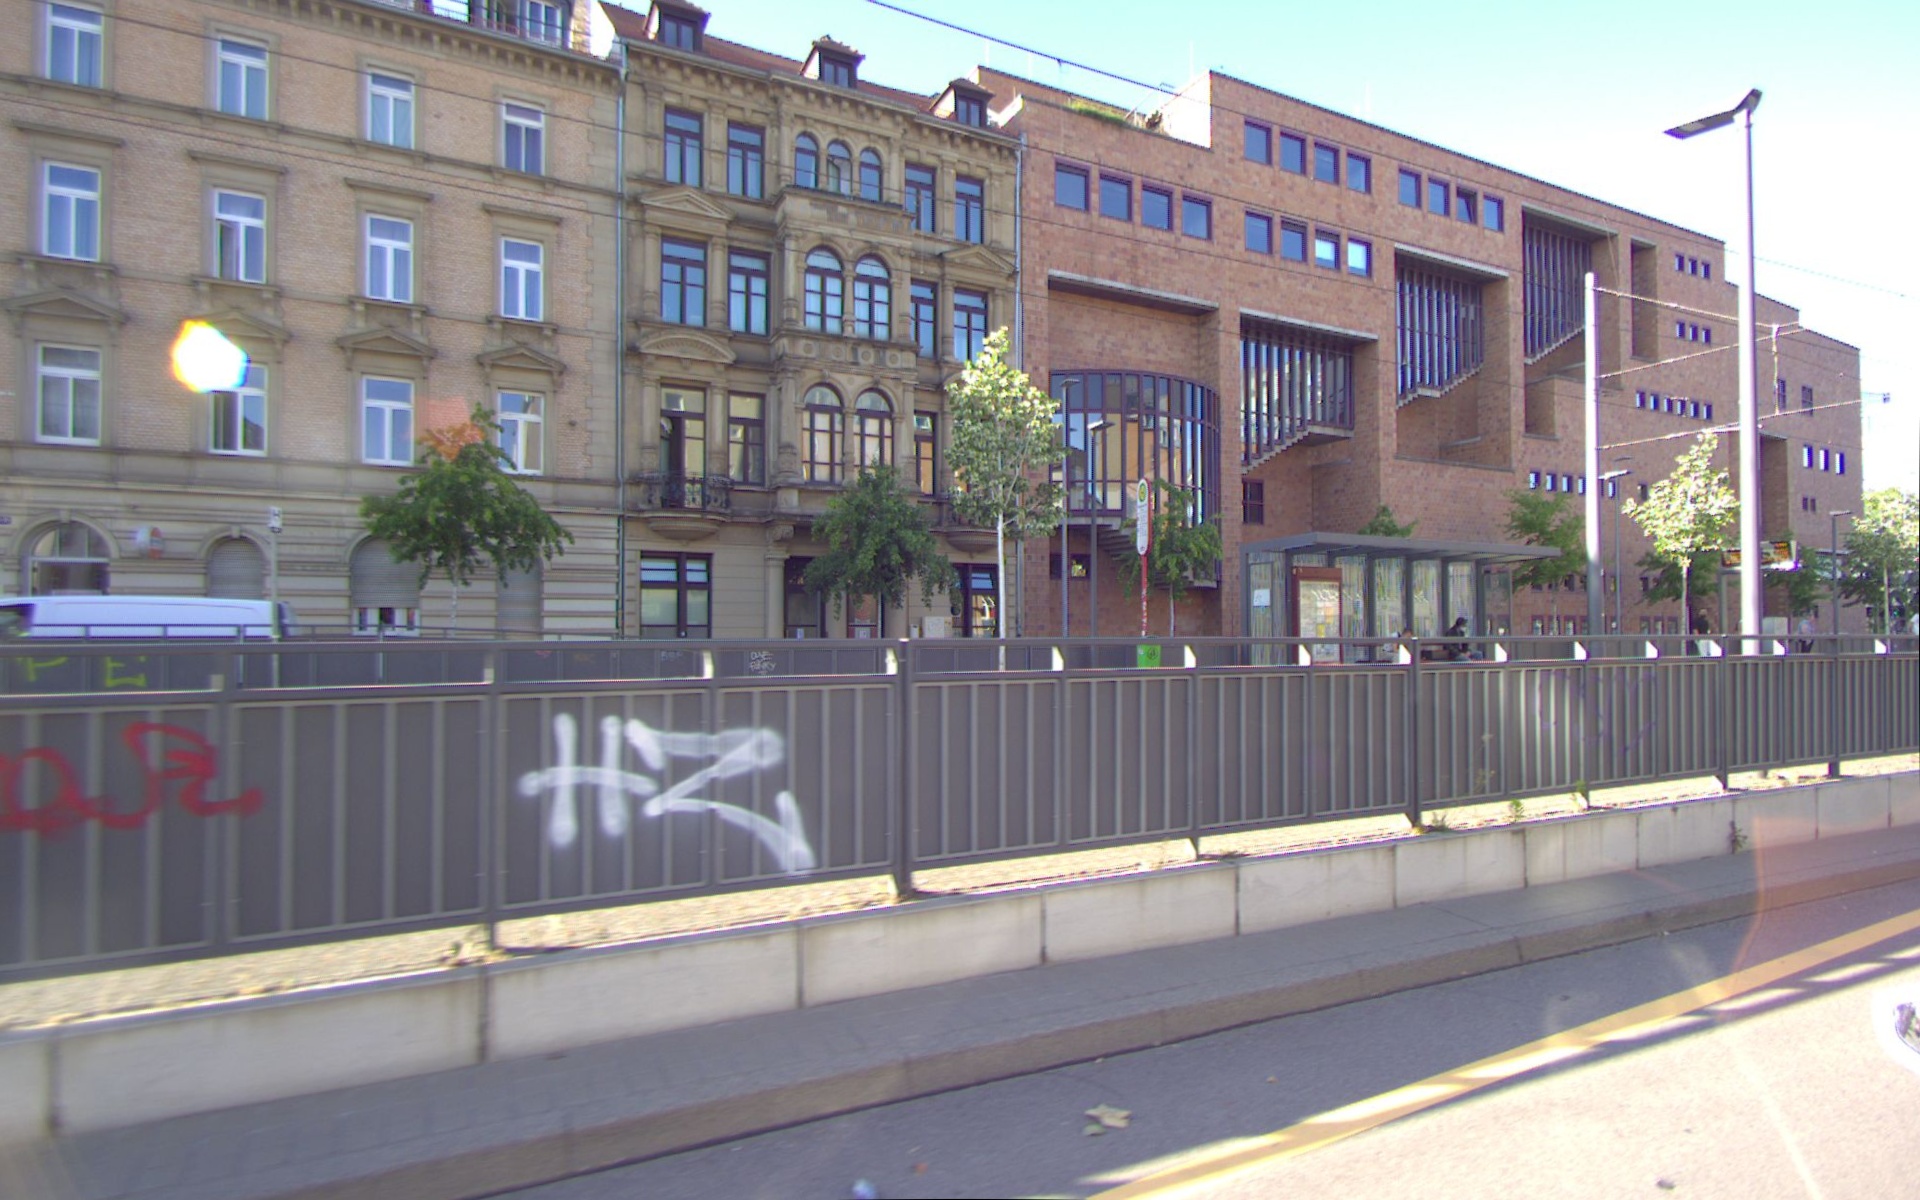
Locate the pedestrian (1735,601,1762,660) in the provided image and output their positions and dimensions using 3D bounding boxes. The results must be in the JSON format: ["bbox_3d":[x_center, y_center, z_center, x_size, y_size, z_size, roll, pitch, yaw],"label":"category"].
[{"bbox_3d":[22.197,0.854,28.282,0.546,1.643,0.376,0,0,-27],"label":"pedestrian"}]

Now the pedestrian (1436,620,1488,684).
[{"bbox_3d":[10.651,1.098,21.320,0.712,1.326,0.644,1,-4,-27],"label":"pedestrian"}]

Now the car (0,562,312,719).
[{"bbox_3d":[-11.461,0.504,13.470,4.530,1.905,1.984,1,0,-31],"label":"car"}]

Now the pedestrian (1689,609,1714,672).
[{"bbox_3d":[19.918,1.081,26.980,0.410,1.670,0.376,0,0,-27],"label":"pedestrian"}]

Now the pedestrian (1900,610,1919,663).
[{"bbox_3d":[31.918,1.209,33.536,0.608,1.737,0.620,0,0,-27],"label":"pedestrian"}]

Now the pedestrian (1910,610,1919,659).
[{"bbox_3d":[32.541,1.159,33.846,0.608,1.633,0.620,0,0,-27],"label":"pedestrian"}]

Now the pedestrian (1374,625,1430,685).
[{"bbox_3d":[8.918,1.114,20.283,0.712,1.183,0.719,1,-4,-27],"label":"pedestrian"}]

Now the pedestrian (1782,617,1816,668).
[{"bbox_3d":[24.676,1.231,29.546,0.634,1.479,0.537,0,0,-27],"label":"pedestrian"}]
